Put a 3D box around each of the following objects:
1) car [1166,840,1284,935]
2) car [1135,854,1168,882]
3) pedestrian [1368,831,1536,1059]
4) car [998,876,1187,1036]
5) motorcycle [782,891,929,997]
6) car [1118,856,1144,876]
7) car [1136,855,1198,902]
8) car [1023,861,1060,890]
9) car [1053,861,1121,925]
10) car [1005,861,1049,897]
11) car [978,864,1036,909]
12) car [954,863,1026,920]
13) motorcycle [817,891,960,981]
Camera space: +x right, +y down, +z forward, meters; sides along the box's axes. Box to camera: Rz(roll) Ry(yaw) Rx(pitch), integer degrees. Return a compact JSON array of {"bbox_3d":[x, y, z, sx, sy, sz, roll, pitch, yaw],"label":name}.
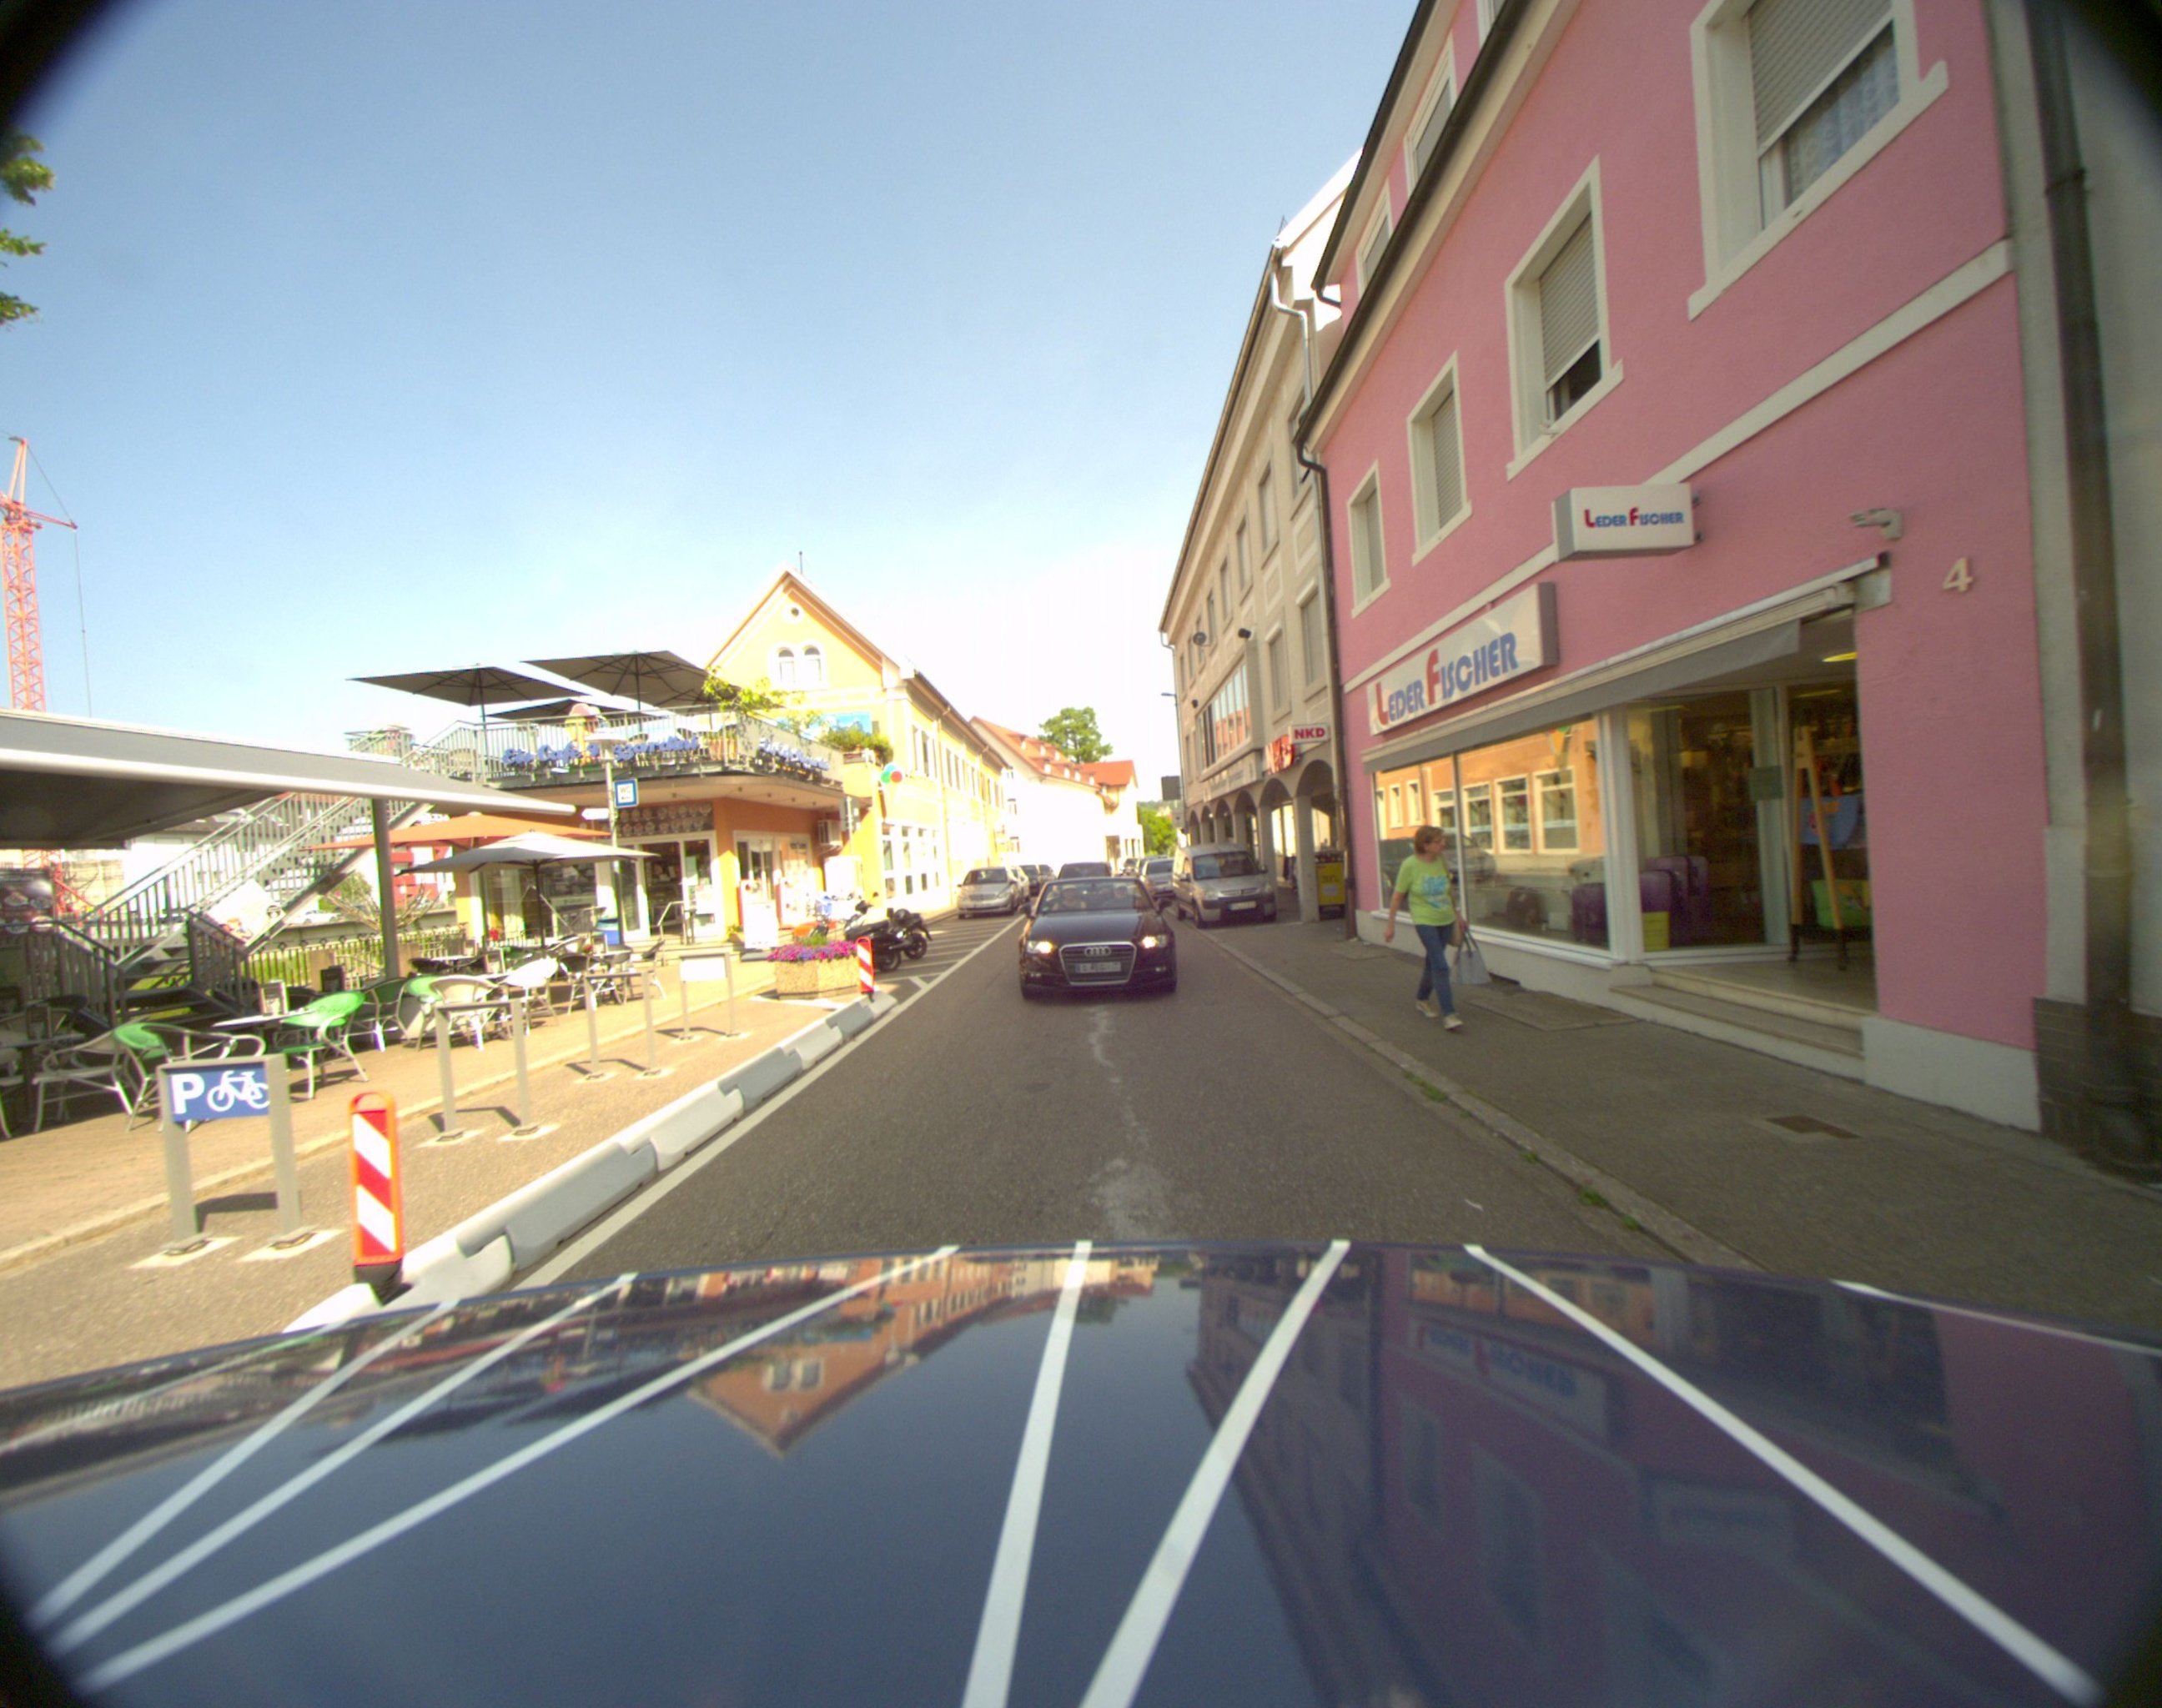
[{"bbox_3d":[3.085,0.676,17.093,1.711,1.729,4.146,-5,0,0],"label":"car"},{"bbox_3d":[4.407,0.859,47.716,1.769,1.551,3.972,-3,0,2],"label":"car"},{"bbox_3d":[2.914,0.678,6.068,0.787,1.622,0.859,-6,0,3],"label":"pedestrian"},{"bbox_3d":[0.198,1.045,9.386,1.755,1.348,4.200,-3,0,2],"label":"car"},{"bbox_3d":[-3.436,1.308,11.620,1.903,1.350,0.915,-3,0,-33],"label":"motorcycle"},{"bbox_3d":[4.514,1.064,68.267,1.681,1.551,3.345,-3,0,13],"label":"car"},{"bbox_3d":[3.101,0.840,28.147,1.807,1.461,4.455,-4,0,2],"label":"car"},{"bbox_3d":[-2.256,1.215,44.094,1.682,1.531,4.187,-3,0,2],"label":"car"},{"bbox_3d":[0.238,1.020,21.615,1.682,1.551,3.972,-3,0,2],"label":"car"},{"bbox_3d":[-2.669,1.200,38.215,1.682,1.636,4.252,-3,0,2],"label":"car"},{"bbox_3d":[-2.940,1.273,30.849,1.682,1.549,4.104,-4,0,2],"label":"car"},{"bbox_3d":[-2.930,1.174,25.441,1.750,1.587,4.594,-4,0,0],"label":"car"},{"bbox_3d":[-3.257,1.333,12.960,2.094,1.262,0.927,-3,0,-38],"label":"motorcycle"}]
